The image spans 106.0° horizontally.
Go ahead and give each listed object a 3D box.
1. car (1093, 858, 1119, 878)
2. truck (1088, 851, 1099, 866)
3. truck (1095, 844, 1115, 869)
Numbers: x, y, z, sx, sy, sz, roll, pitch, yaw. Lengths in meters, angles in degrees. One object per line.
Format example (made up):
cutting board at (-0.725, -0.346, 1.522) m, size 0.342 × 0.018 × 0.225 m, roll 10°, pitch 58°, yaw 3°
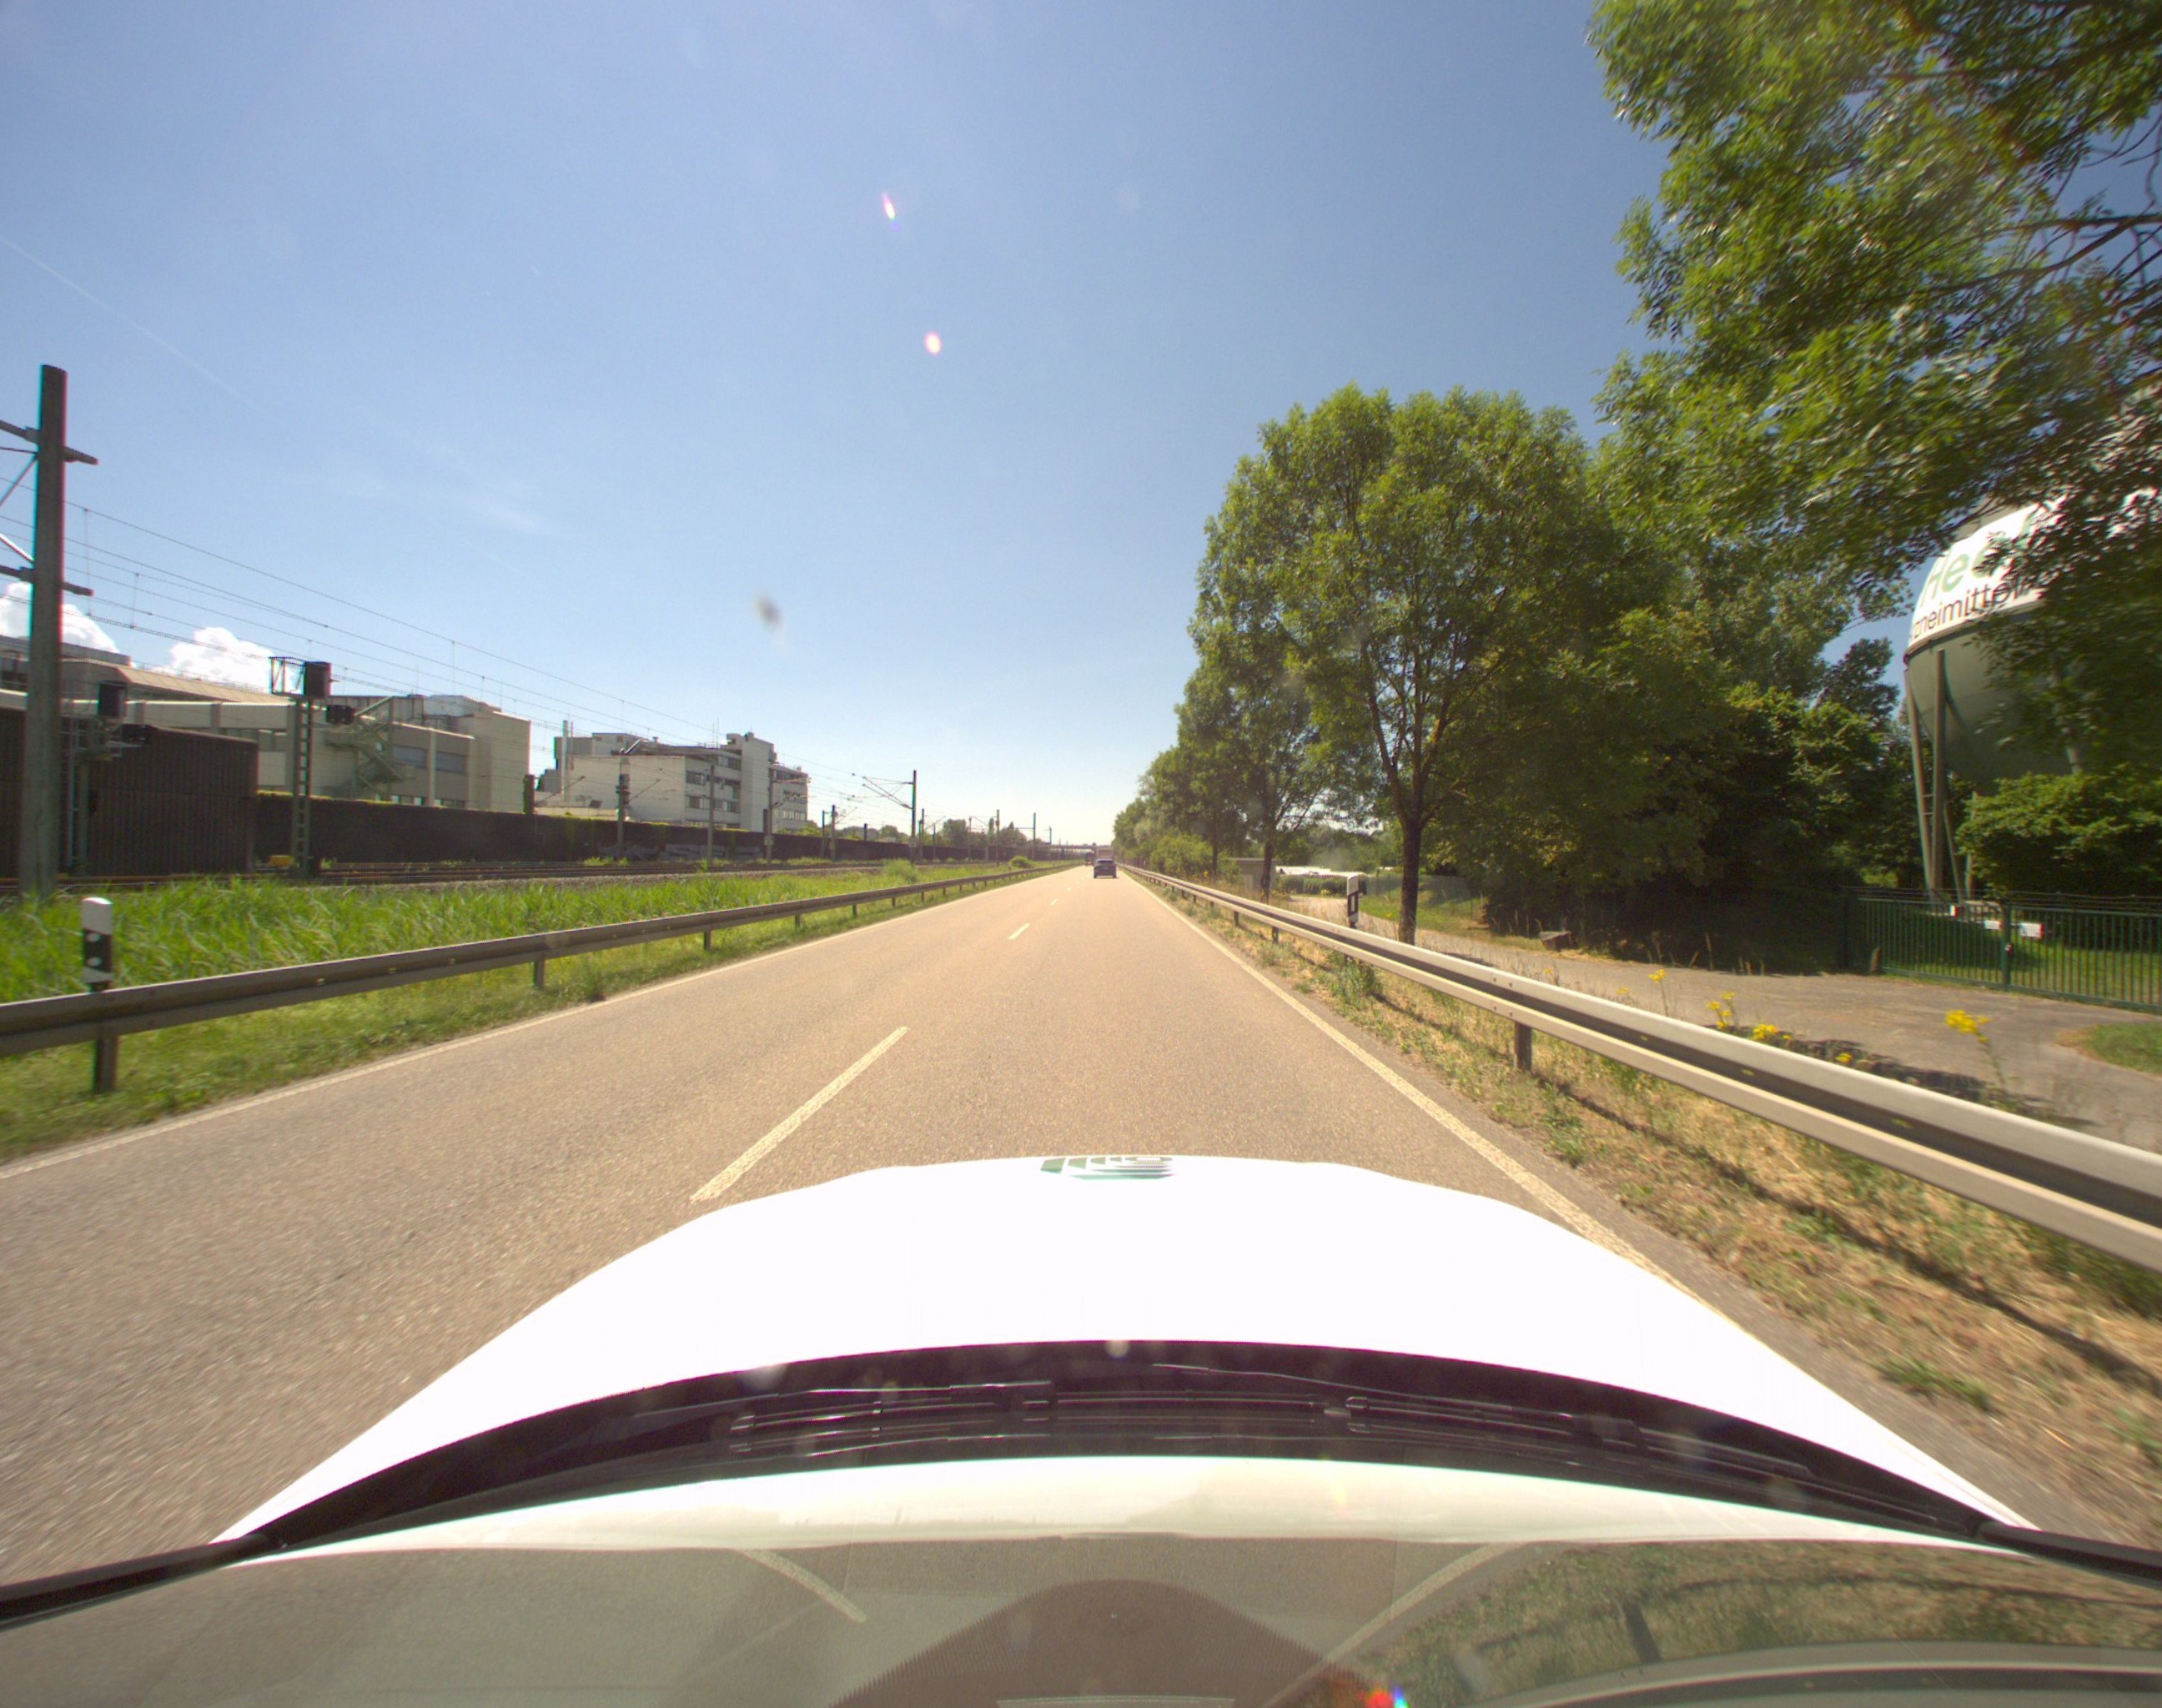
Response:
car at (1.996, 1.112, 65.845) m, size 1.987 × 1.508 × 3.999 m, roll -1°, pitch 0°, yaw -1°
truck at (3.110, 1.067, 202.121) m, size 2.649 × 3.627 × 10.978 m, roll 0°, pitch 0°, yaw 1°
truck at (3.465, 0.448, 118.521) m, size 2.760 × 3.425 × 10.823 m, roll 0°, pitch -1°, yaw 2°
